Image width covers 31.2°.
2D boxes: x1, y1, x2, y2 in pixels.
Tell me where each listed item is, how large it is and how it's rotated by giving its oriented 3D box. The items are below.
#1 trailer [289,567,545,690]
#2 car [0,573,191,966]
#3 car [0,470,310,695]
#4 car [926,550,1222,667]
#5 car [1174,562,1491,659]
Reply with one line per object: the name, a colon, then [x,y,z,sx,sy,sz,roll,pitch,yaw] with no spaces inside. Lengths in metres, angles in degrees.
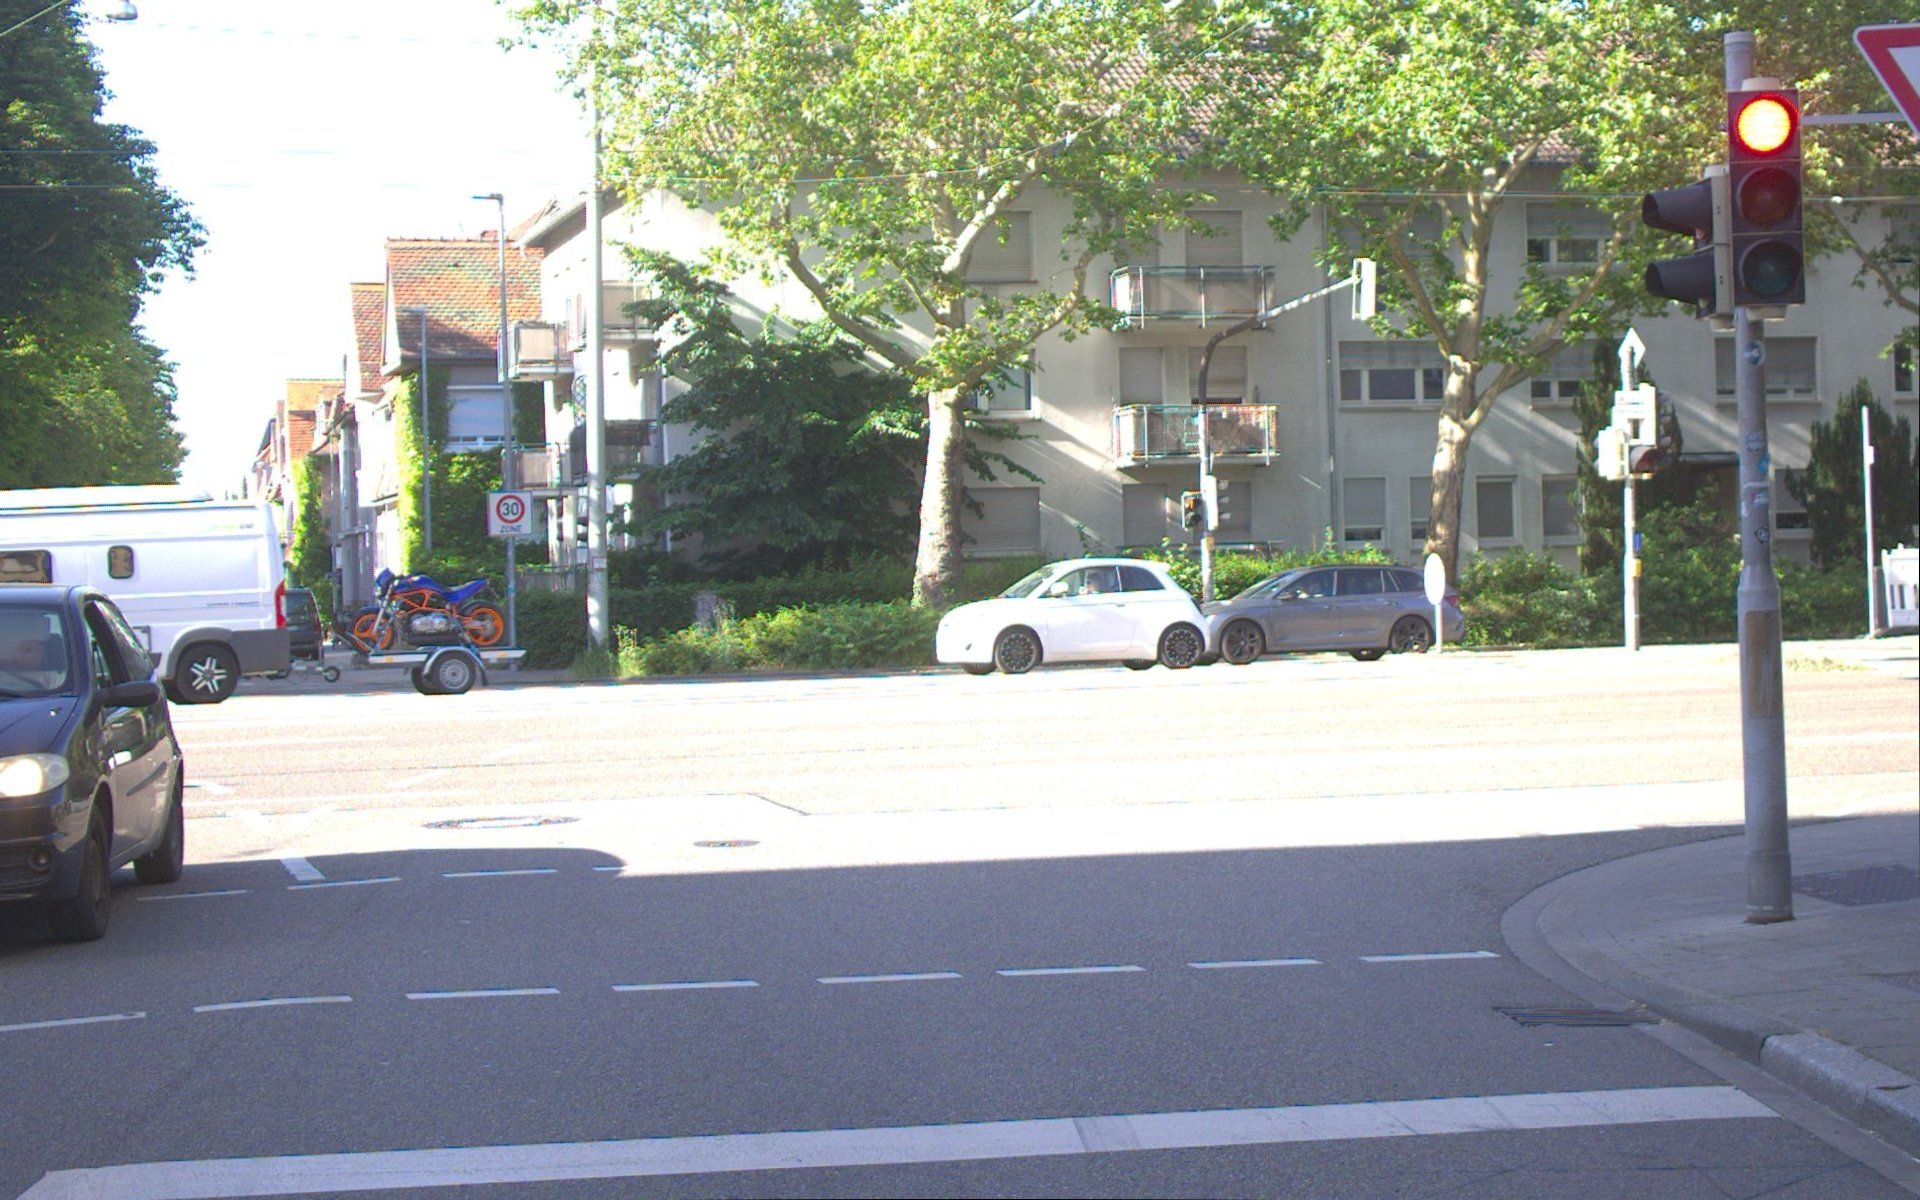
trailer: [-6.857,0.344,43.367,2.946,1.452,1.515,-1,1,-19]
car: [-4.339,0.637,14.632,1.652,1.452,3.644,-1,1,-6]
car: [-11.149,-0.211,41.819,6.106,2.628,1.896,-1,1,-19]
car: [1.524,0.099,45.979,3.630,1.452,1.503,-1,1,-20]
car: [5.527,0.138,51.062,4.385,1.312,1.646,-1,1,-20]
